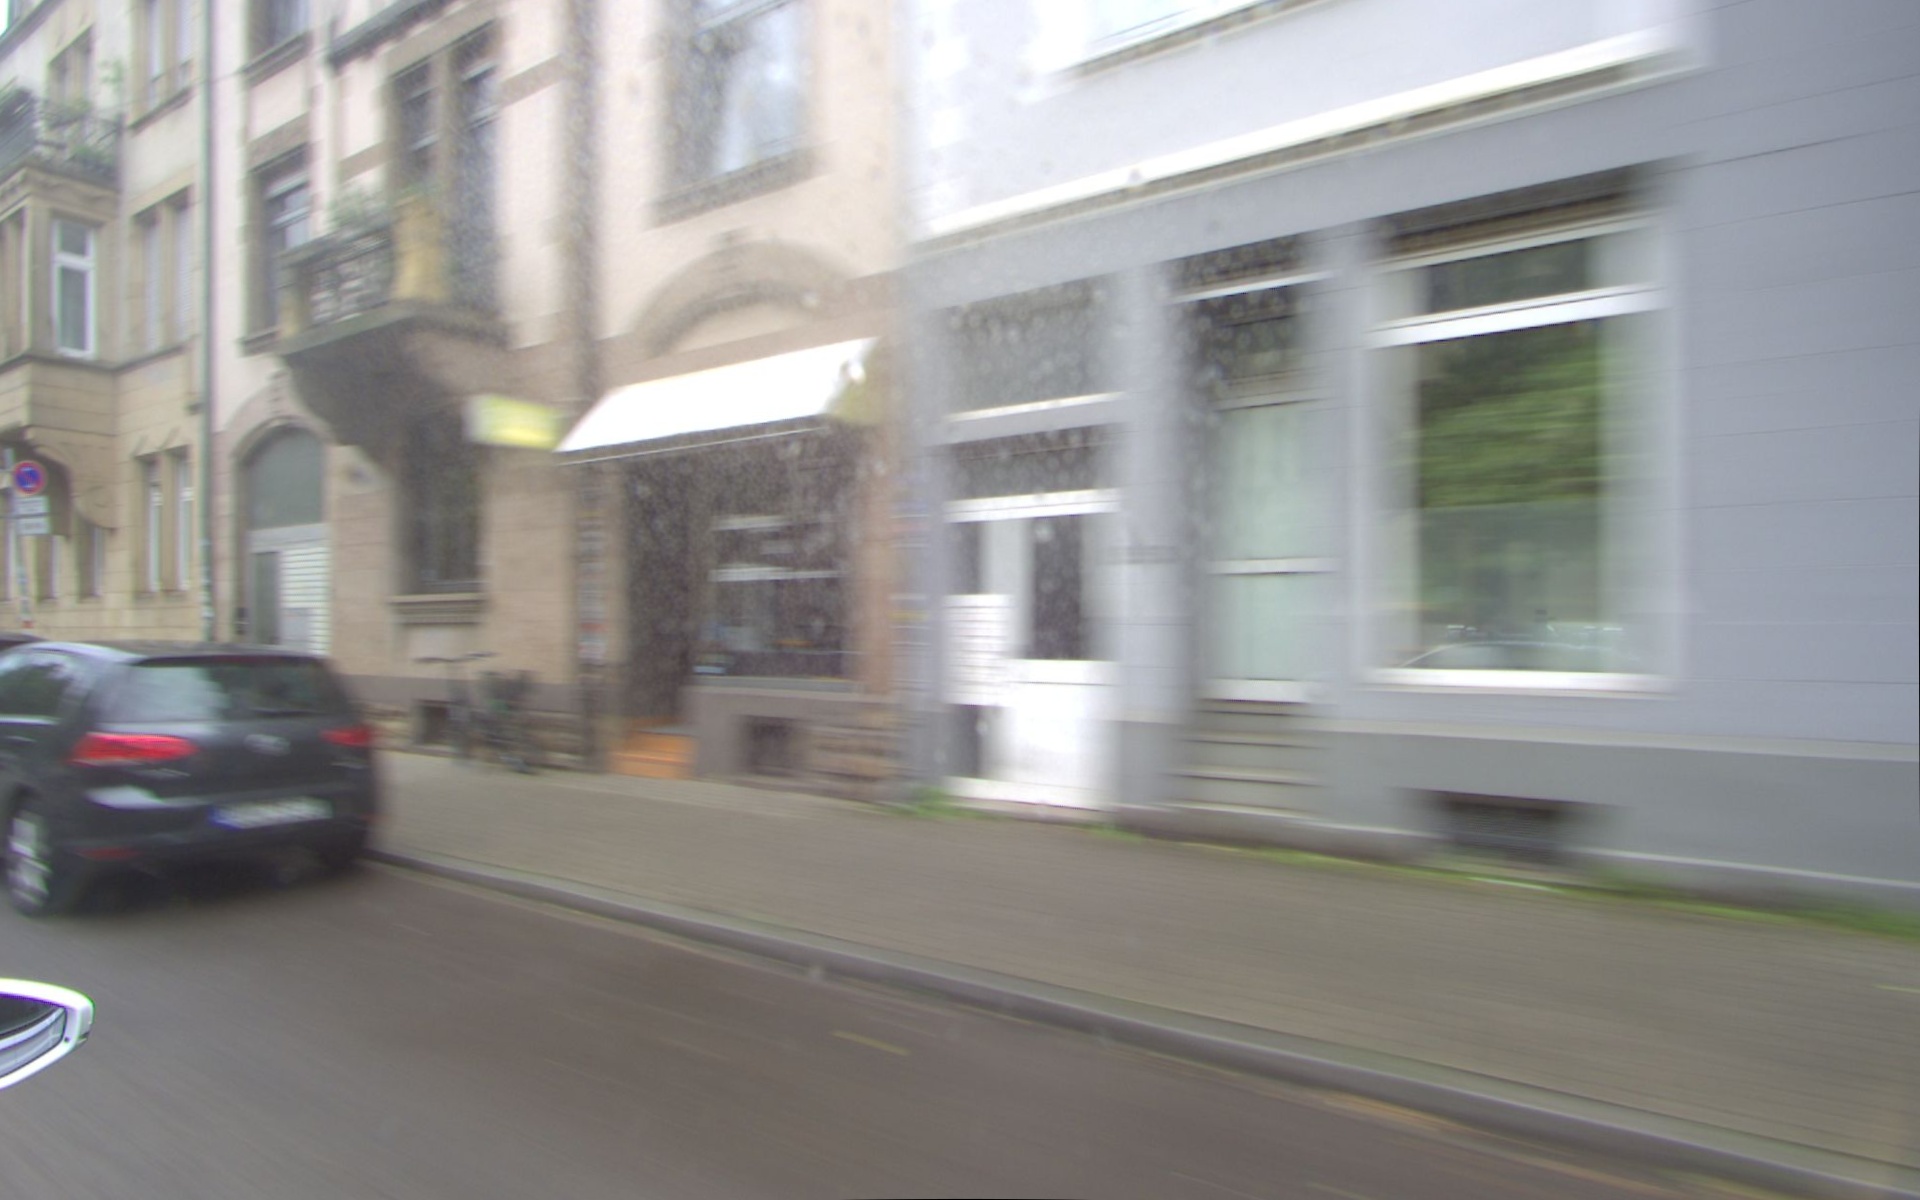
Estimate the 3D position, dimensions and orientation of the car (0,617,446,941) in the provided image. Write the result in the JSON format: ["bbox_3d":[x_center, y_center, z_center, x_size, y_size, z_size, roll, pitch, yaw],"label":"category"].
[{"bbox_3d":[-5.513,0.937,6.635,4.327,1.531,1.697,-1,-4,32],"label":"car"}]

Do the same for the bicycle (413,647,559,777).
[{"bbox_3d":[-4.529,1.029,9.532,1.565,1.113,0.419,-1,4,32],"label":"bicycle"}]

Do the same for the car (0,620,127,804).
[{"bbox_3d":[-9.906,0.956,9.471,4.354,1.531,1.697,-1,-4,31],"label":"car"}]
